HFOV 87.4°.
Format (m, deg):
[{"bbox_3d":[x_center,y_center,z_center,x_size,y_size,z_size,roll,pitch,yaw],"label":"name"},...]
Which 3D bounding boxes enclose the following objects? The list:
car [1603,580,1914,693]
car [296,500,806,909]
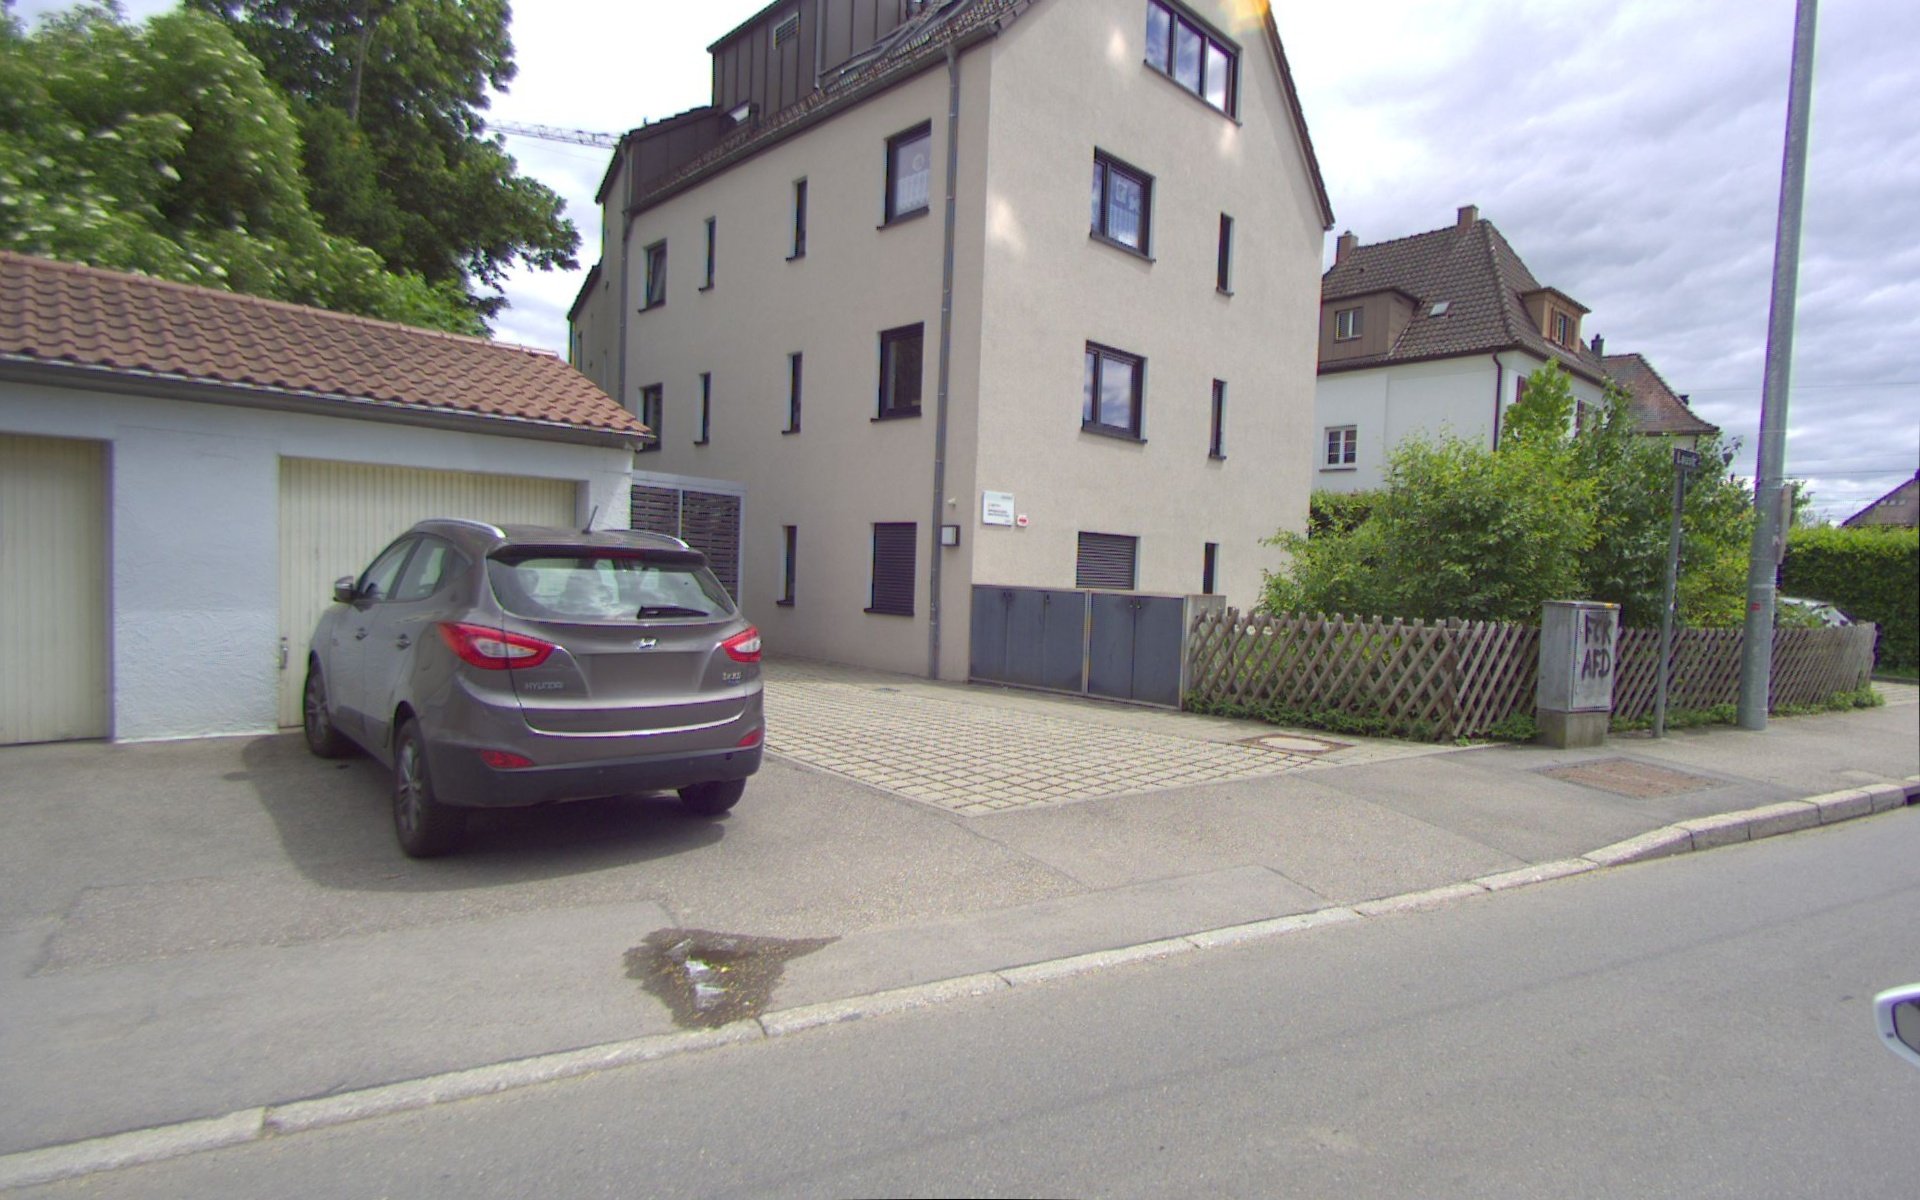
[{"bbox_3d":[13.350,0.538,17.008,1.797,1.453,3.651,2,4,-32],"label":"car"},{"bbox_3d":[-2.920,0.304,6.488,1.783,1.718,4.274,1,4,-40],"label":"car"}]
